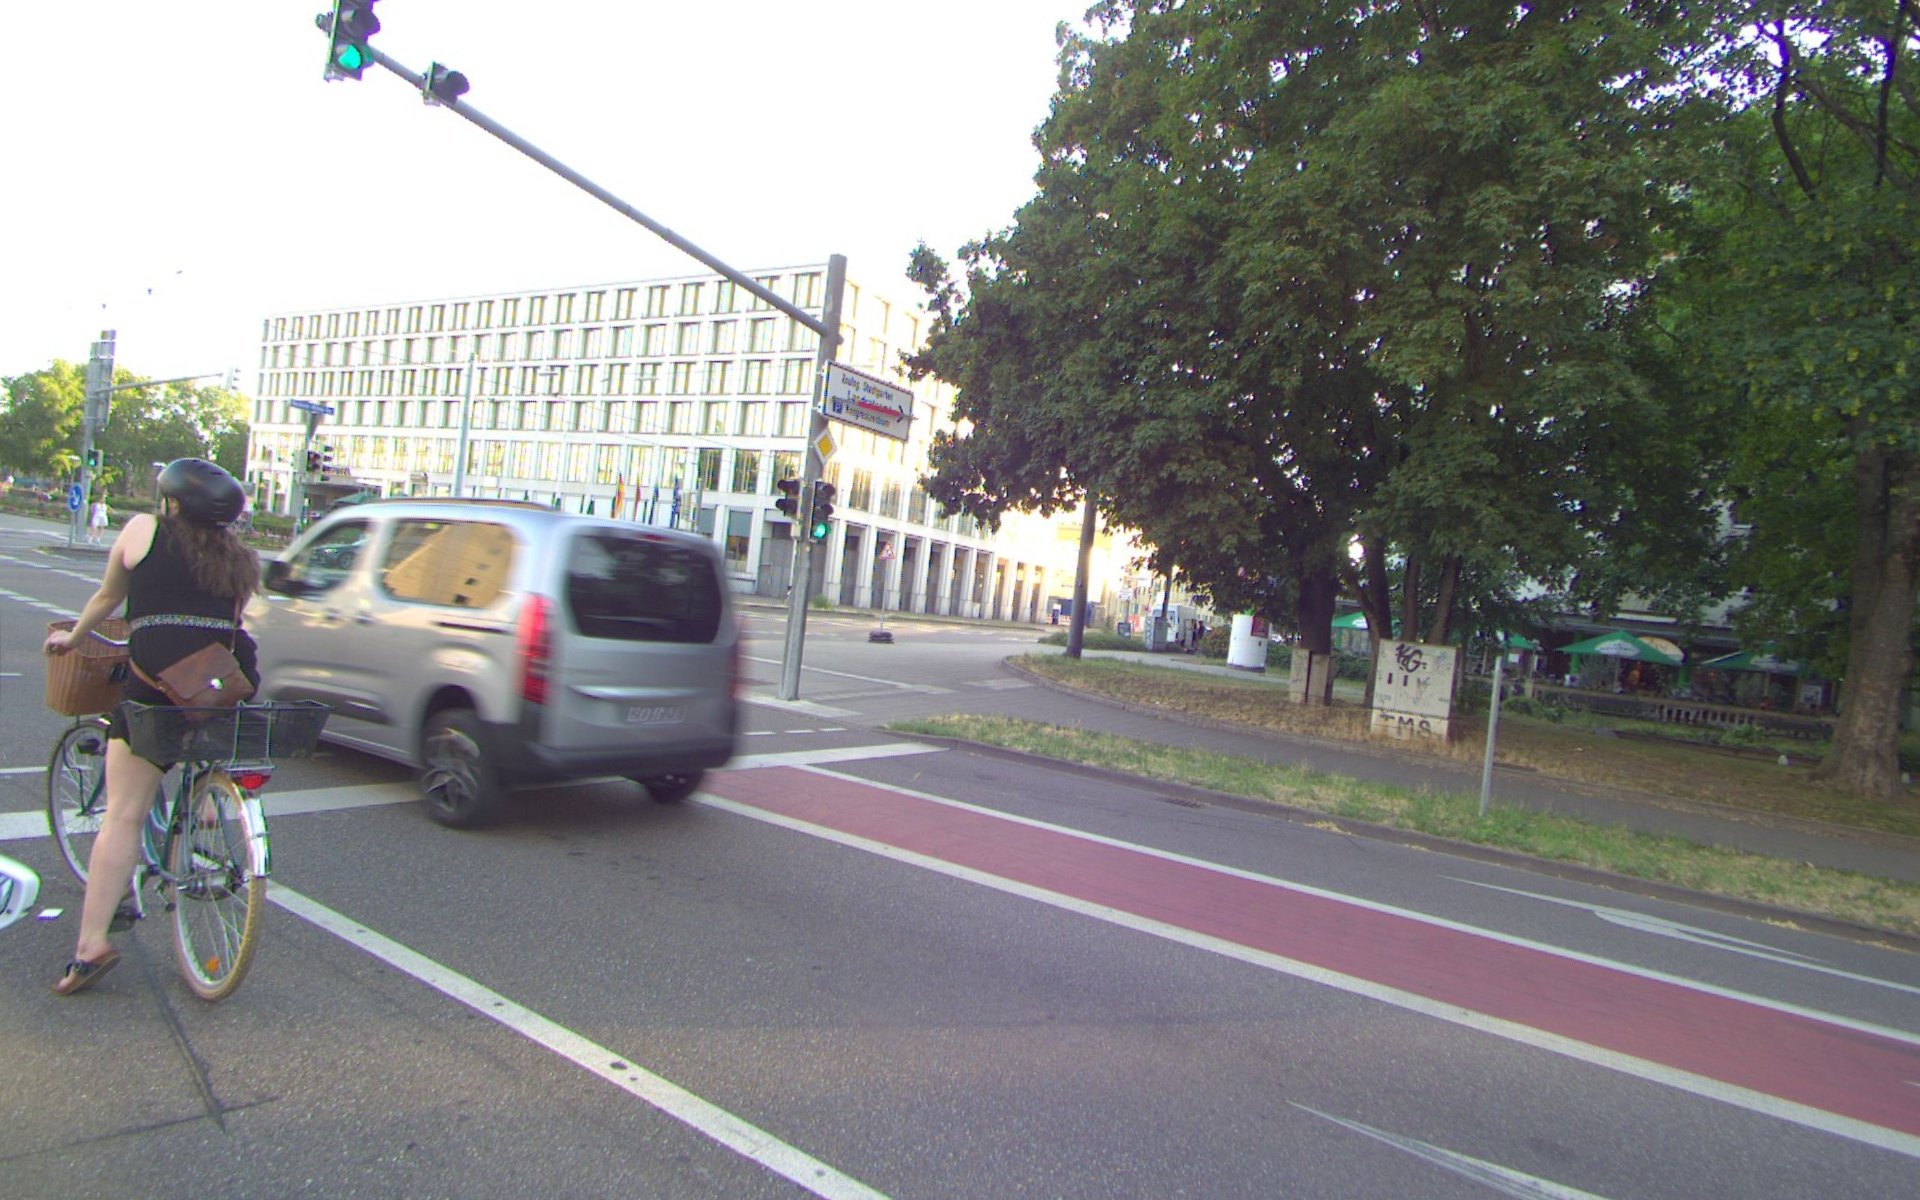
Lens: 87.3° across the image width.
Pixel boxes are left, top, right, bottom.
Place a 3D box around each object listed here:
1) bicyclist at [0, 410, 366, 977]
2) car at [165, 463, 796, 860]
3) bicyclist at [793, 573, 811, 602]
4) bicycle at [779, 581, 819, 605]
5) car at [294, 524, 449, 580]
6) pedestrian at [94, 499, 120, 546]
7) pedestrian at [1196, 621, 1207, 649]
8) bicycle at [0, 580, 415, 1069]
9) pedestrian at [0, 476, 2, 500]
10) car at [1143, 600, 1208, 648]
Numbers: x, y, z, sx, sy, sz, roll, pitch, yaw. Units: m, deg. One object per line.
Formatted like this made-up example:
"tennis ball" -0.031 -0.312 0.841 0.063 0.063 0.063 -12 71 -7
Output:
"bicyclist" -2.696 0.250 3.432 0.982 1.655 0.600 7 0 32
"car" -3.496 0.227 7.032 4.426 1.911 1.765 7 -1 33
"bicyclist" -9.151 -0.713 58.334 0.567 1.556 0.708 7 1 29
"bicycle" -9.277 -0.387 58.216 0.592 1.120 2.775 7 0 29
"car" -22.983 -1.840 39.484 1.968 1.534 4.826 7 0 34
"pedestrian" -29.802 -2.713 35.141 0.402 1.559 0.491 7 2 31
"pedestrian" 13.407 1.935 55.802 0.302 1.525 0.336 7 -1 31
"bicycle" -2.794 0.610 3.460 1.971 1.146 0.612 7 -1 32
"pedestrian" -42.897 -4.692 44.552 0.557 1.678 0.460 7 2 32
"car" 11.957 1.349 55.611 1.967 2.318 4.605 6 0 31
